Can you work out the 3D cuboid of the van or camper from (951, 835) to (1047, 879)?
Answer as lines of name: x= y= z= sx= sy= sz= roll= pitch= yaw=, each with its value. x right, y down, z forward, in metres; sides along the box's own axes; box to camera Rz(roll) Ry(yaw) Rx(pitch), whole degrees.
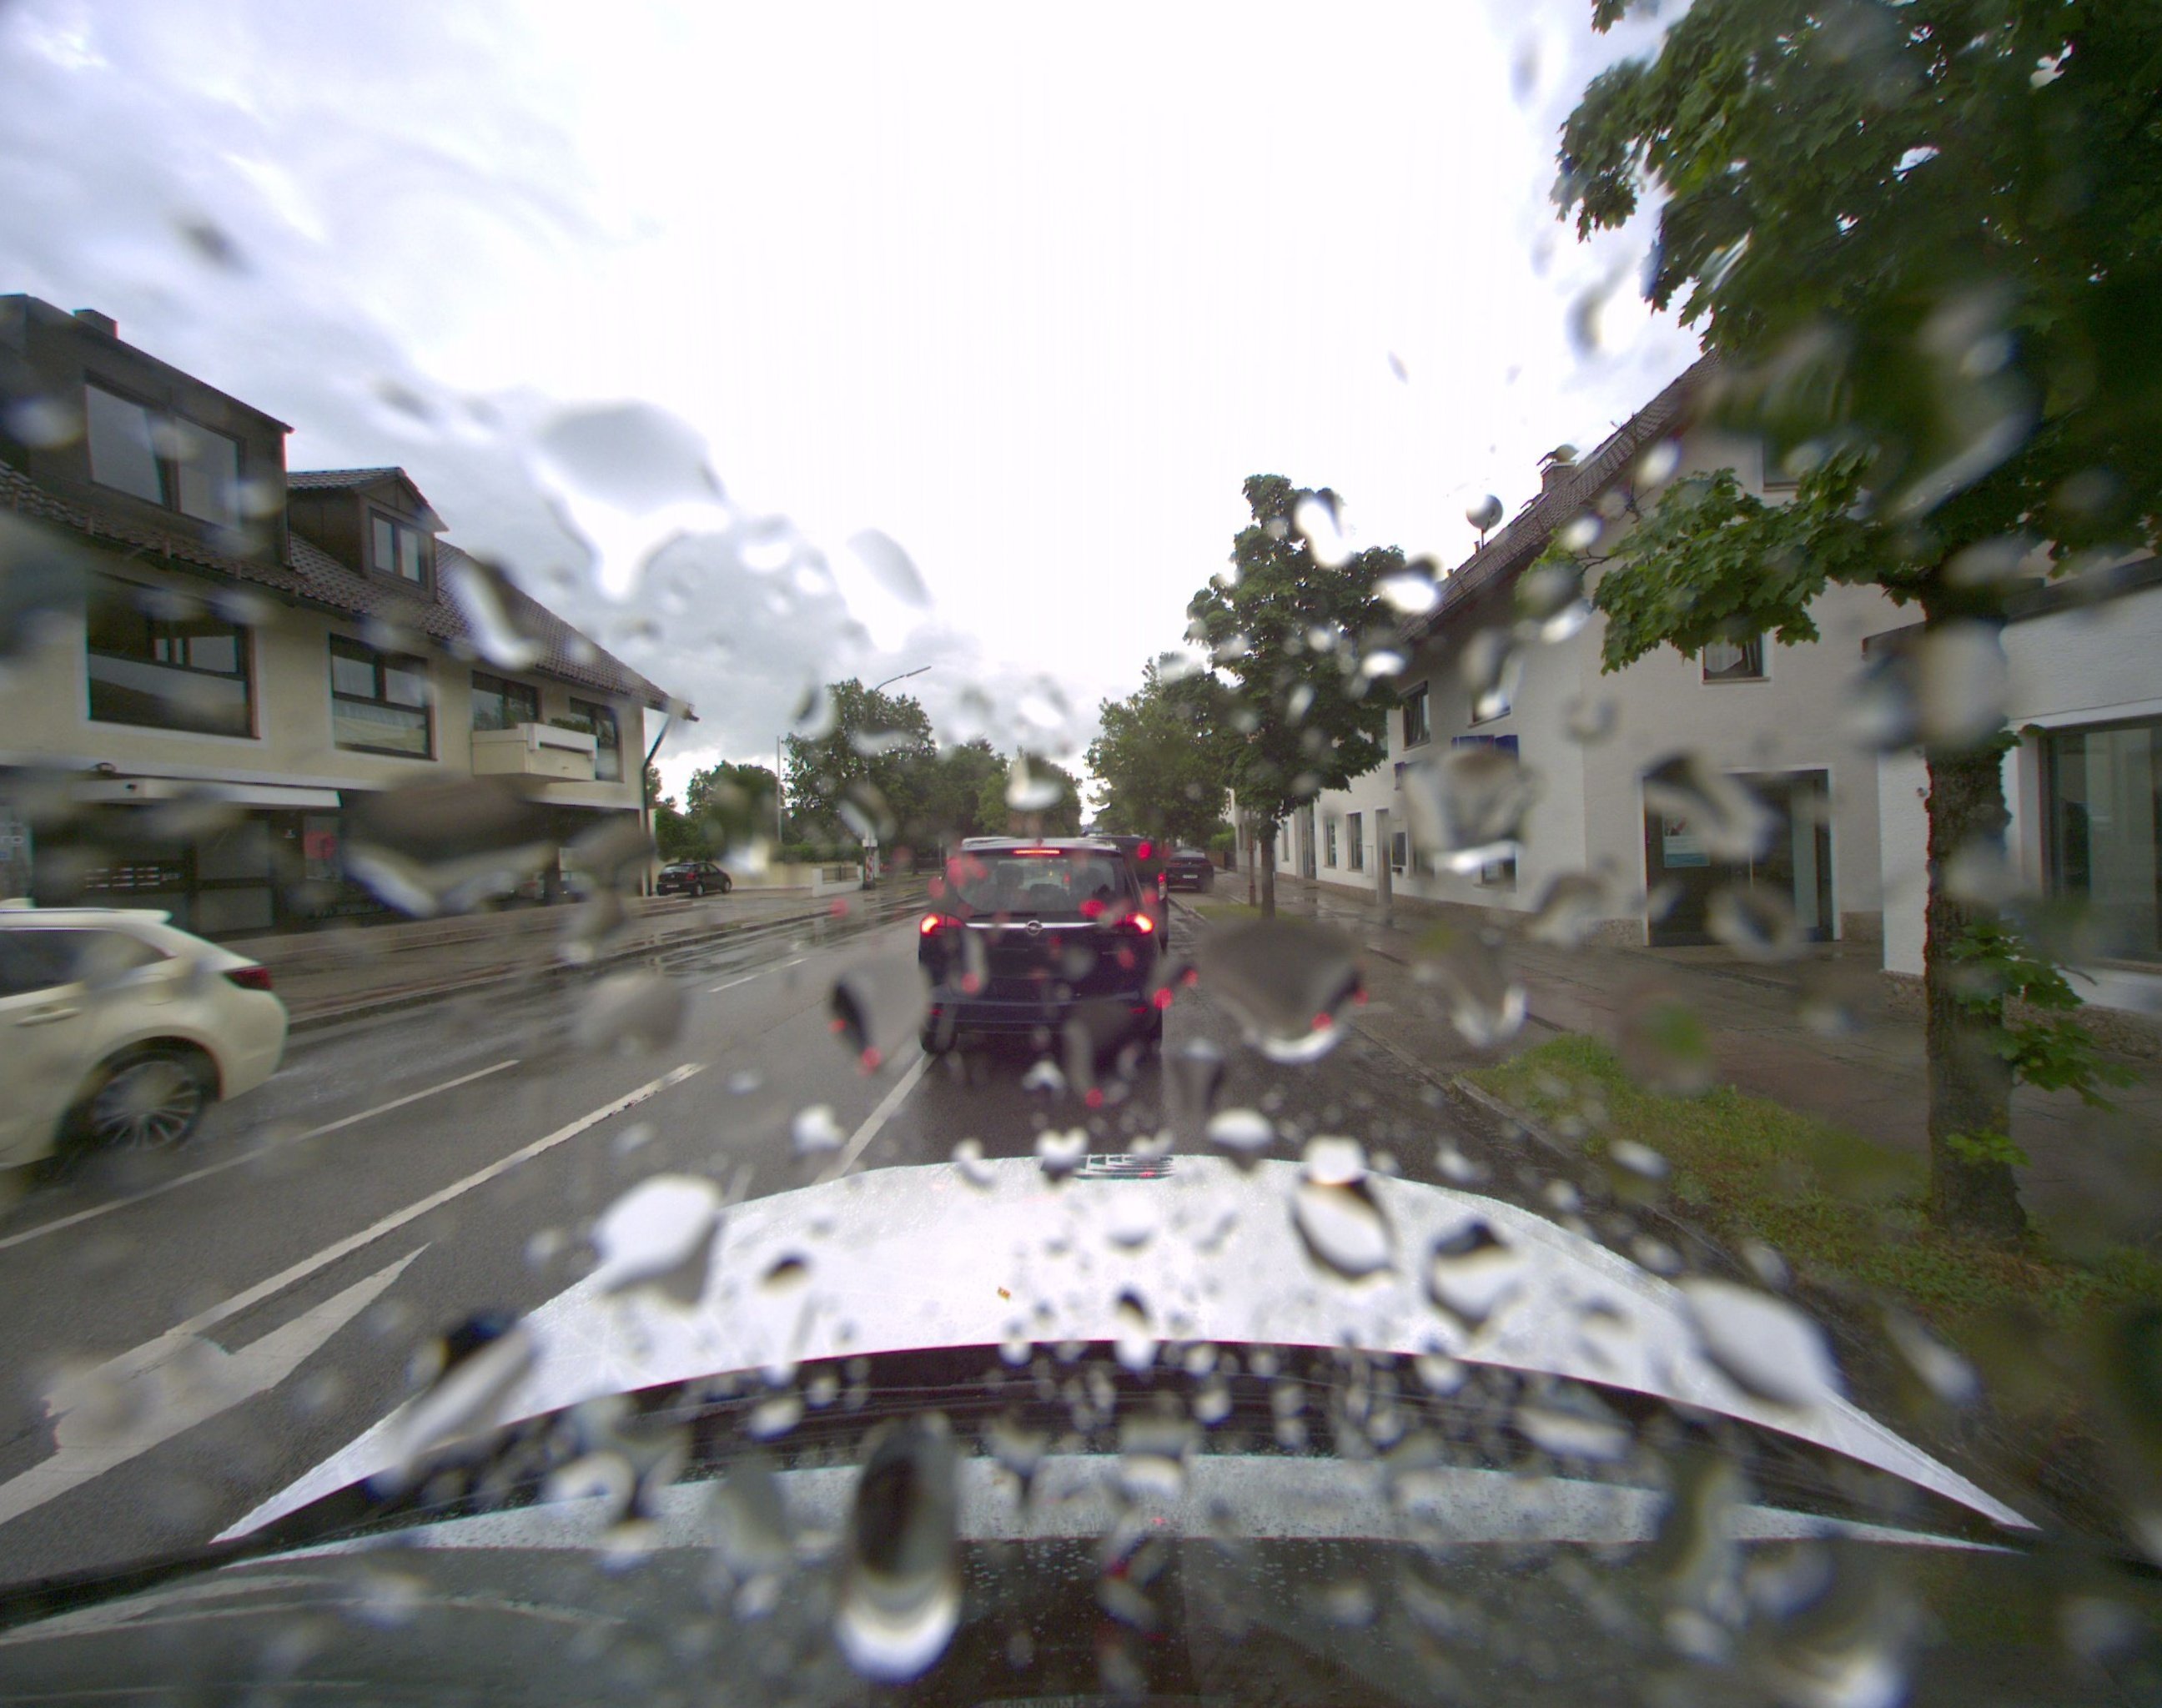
van or camper: x=-5.463 y=0.191 z=53.870 sx=6.188 sy=2.707 sz=2.114 roll=-2 pitch=0 yaw=30

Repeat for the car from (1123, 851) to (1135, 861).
car: x=6.964 y=0.292 z=119.069 sx=1.624 sy=1.378 sz=3.624 roll=-1 pitch=0 yaw=2

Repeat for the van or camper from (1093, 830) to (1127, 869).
van or camper: x=2.168 y=-0.318 z=60.774 sx=2.351 sy=2.665 sz=5.374 roll=-2 pitch=0 yaw=2

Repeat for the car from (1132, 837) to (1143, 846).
car: x=8.872 y=-1.978 z=128.301 sx=1.624 sy=1.378 sz=3.624 roll=-3 pitch=0 yaw=2

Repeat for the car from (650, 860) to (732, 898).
car: x=-16.260 y=1.006 z=34.108 sx=1.601 sy=1.380 sz=3.510 roll=-3 pitch=0 yaw=2

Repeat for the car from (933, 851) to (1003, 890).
car: x=-4.508 y=0.618 z=33.021 sx=1.988 sy=1.407 sz=3.887 roll=-3 pitch=0 yaw=3

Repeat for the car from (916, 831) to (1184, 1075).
car: x=-0.145 y=0.652 z=7.223 sx=1.762 sy=1.604 sz=3.665 roll=-1 pitch=0 yaw=2

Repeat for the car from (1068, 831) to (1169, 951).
car: x=0.613 y=0.548 z=13.675 sx=1.494 sy=1.776 sz=3.113 roll=0 pitch=0 yaw=2

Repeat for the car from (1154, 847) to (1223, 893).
car: x=3.885 y=0.543 z=30.129 sx=2.110 sy=1.581 sz=3.936 roll=0 pitch=0 yaw=1

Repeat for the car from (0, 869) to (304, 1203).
car: x=-5.936 y=0.909 z=3.071 sx=1.745 sy=1.511 sz=4.233 roll=-3 pitch=0 yaw=3
